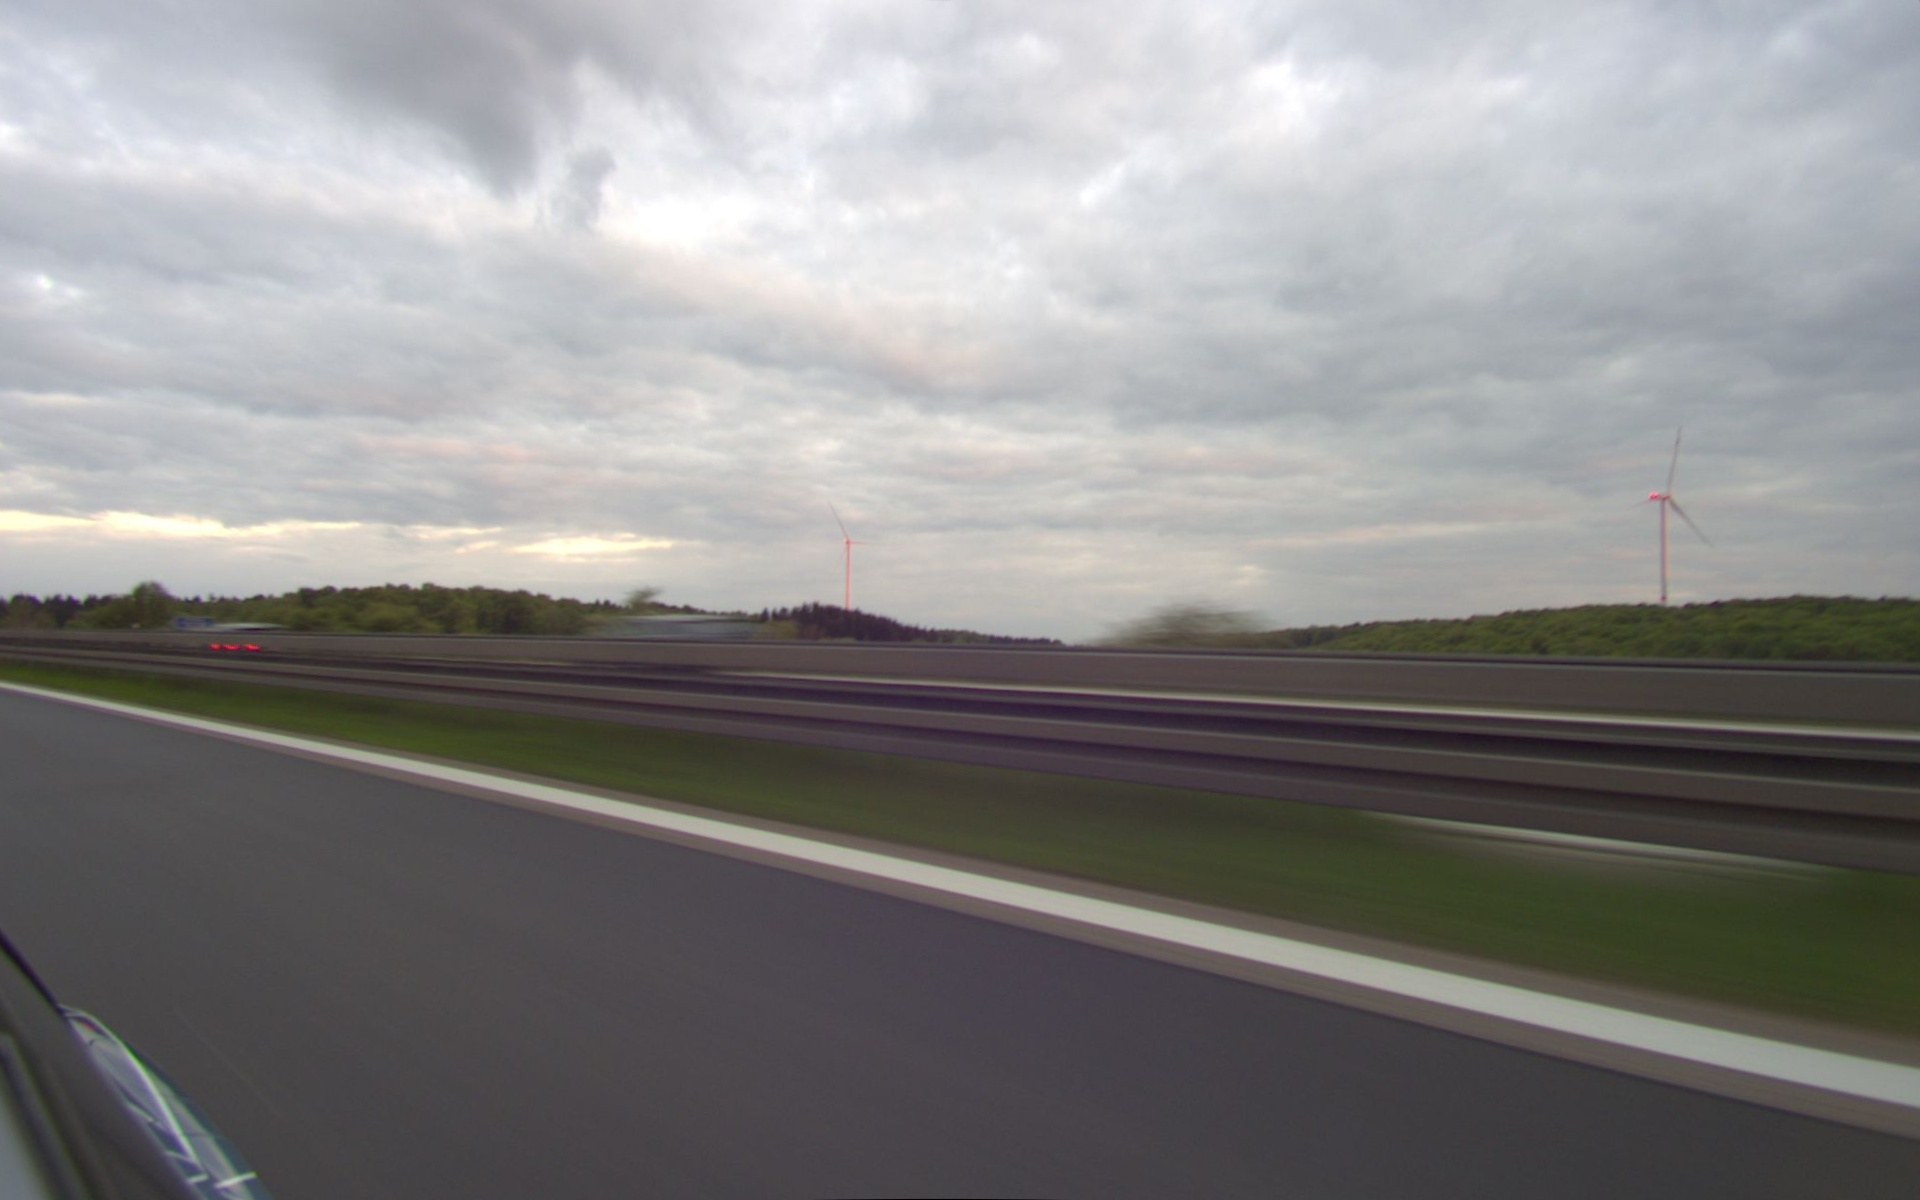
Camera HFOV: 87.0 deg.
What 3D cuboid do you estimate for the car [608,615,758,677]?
[{"bbox_3d":[-6.412,1.066,23.318,3.492,1.298,1.567,-2,-5,39],"label":"car"}]

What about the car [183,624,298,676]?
[{"bbox_3d":[-21.051,1.437,29.554,4.241,1.403,1.590,-2,-3,38],"label":"car"}]
